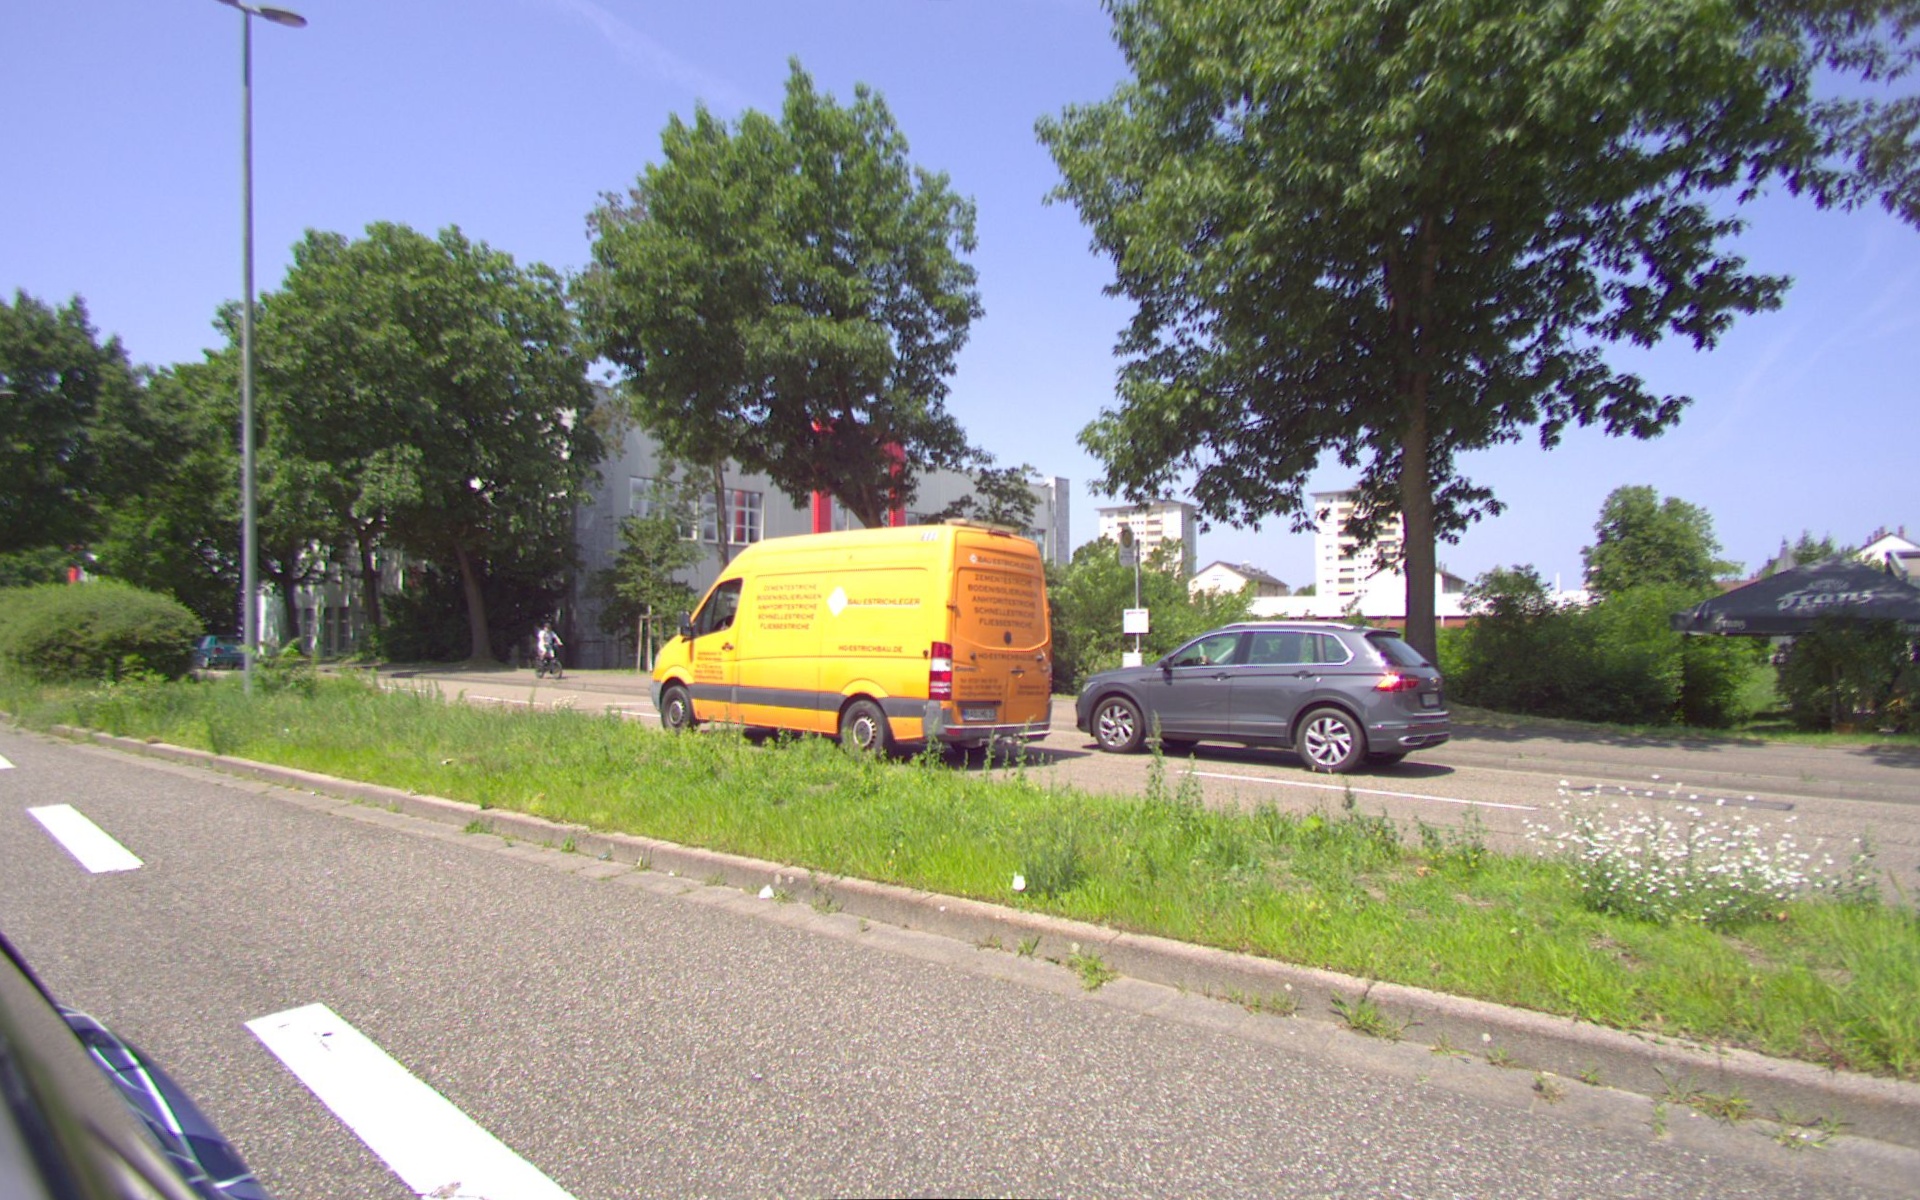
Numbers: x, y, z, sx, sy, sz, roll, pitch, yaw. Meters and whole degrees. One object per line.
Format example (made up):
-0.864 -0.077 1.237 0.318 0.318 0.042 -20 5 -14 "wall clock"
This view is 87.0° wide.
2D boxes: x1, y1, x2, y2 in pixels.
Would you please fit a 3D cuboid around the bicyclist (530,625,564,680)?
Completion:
-12.424 1.572 30.458 0.923 1.643 0.601 -2 -3 42 "bicyclist"

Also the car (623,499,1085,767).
-1.580 0.442 12.671 6.055 2.587 2.241 -2 -4 42 "car"

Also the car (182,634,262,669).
-31.256 2.167 42.820 4.585 1.398 1.668 -2 -5 41 "car"

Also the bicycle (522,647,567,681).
-12.575 1.916 30.592 1.660 0.976 0.610 -2 -3 43 "bicycle"

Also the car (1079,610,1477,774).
3.643 1.015 12.083 4.211 1.616 1.697 -2 -5 42 "car"
